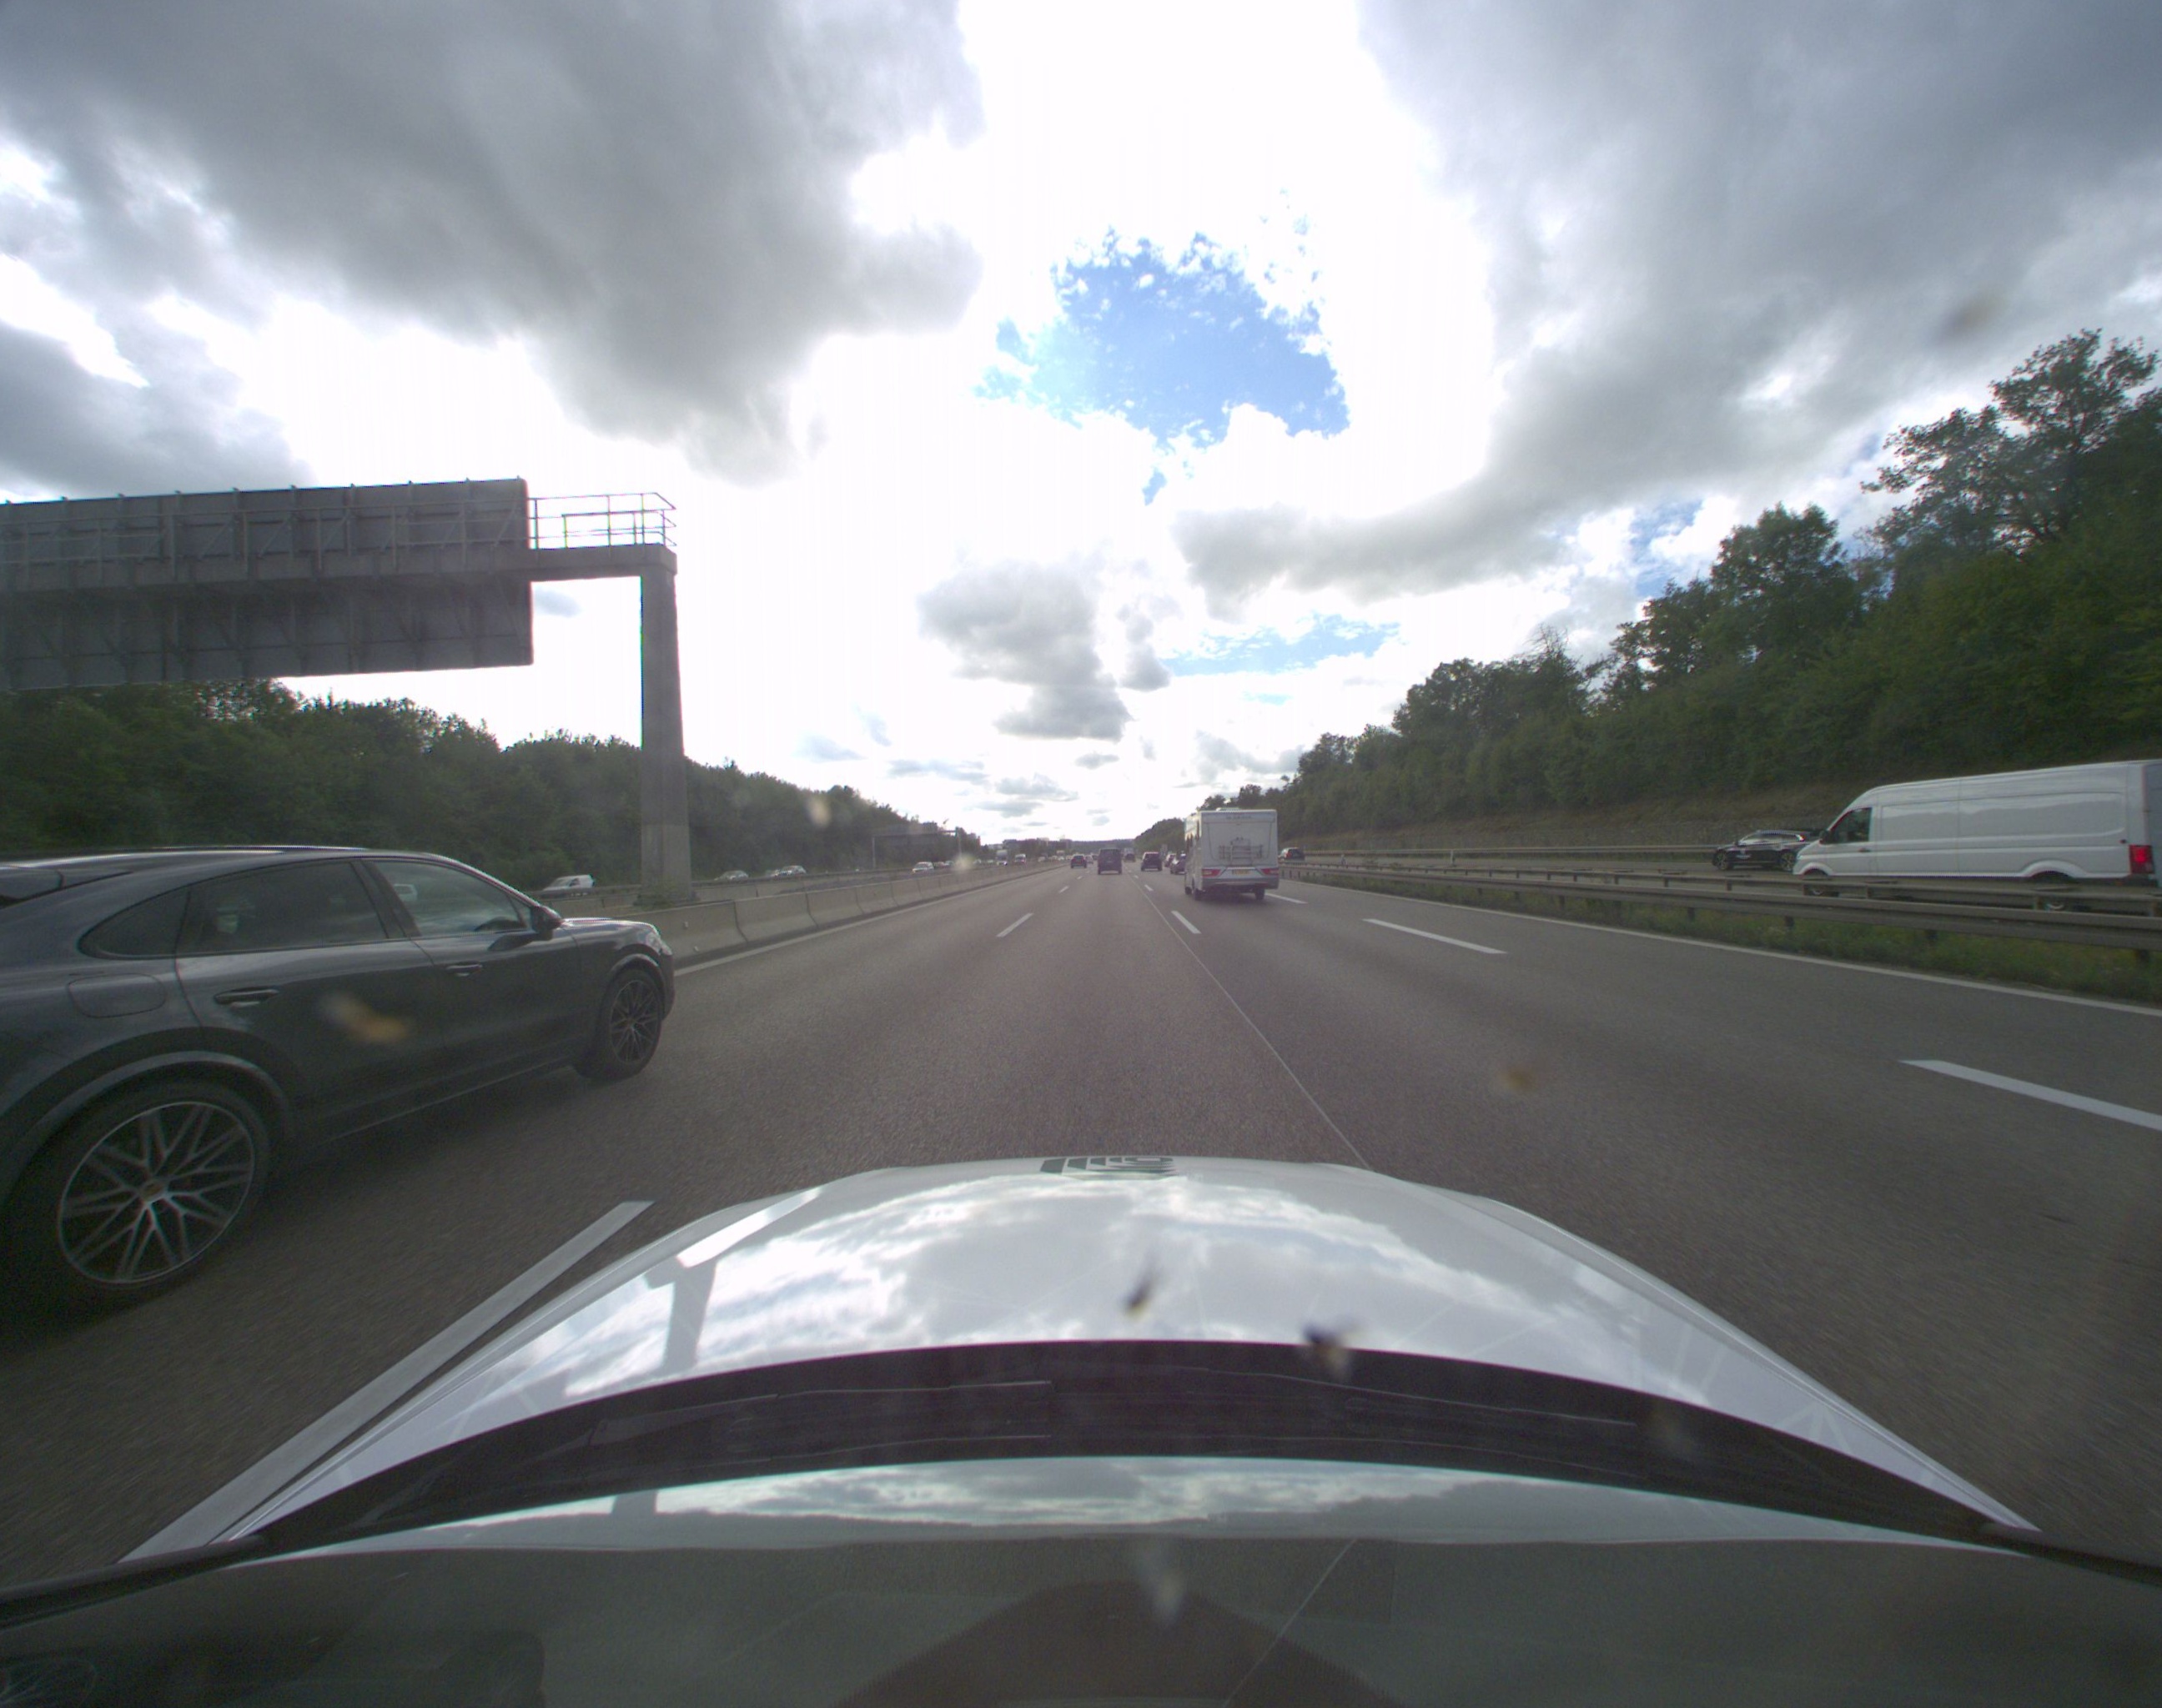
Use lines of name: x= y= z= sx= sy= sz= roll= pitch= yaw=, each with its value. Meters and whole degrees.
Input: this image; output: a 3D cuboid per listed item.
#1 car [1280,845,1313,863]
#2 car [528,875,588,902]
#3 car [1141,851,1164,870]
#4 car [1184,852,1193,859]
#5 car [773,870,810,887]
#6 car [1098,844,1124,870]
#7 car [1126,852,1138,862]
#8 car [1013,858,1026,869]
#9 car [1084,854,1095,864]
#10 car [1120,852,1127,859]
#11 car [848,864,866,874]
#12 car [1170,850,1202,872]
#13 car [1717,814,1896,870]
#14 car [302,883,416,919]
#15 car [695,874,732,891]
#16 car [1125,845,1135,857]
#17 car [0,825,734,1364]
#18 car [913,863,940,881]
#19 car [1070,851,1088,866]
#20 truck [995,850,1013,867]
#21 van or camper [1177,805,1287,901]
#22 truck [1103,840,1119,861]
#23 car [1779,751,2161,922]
car: x=19.702 y=-0.017 z=74.599 sx=1.836 sy=1.484 sz=4.528 roll=-4 pitch=0 yaw=2
car: x=-39.183 y=2.560 z=61.090 sx=1.586 sy=1.757 sz=4.283 roll=-3 pitch=0 yaw=1
car: x=6.315 y=0.590 z=72.183 sx=1.691 sy=1.564 sz=4.115 roll=-2 pitch=0 yaw=1
car: x=27.233 y=0.362 z=205.787 sx=1.745 sy=1.695 sz=4.192 roll=-2 pitch=0 yaw=2
car: x=-30.651 y=2.547 z=86.440 sx=1.985 sy=1.592 sz=4.771 roll=-2 pitch=0 yaw=3
car: x=2.314 y=0.249 z=63.048 sx=1.848 sy=1.910 sz=4.261 roll=-2 pitch=0 yaw=2
car: x=9.547 y=0.562 z=152.555 sx=1.906 sy=1.919 sz=4.032 roll=-2 pitch=0 yaw=2
car: x=-13.954 y=2.161 z=185.663 sx=2.156 sy=2.271 sz=6.463 roll=-2 pitch=0 yaw=1
car: x=1.359 y=0.780 z=132.755 sx=1.691 sy=1.611 sz=4.115 roll=-2 pitch=0 yaw=1
car: x=11.083 y=0.463 z=214.254 sx=1.745 sy=1.695 sz=4.192 roll=-2 pitch=0 yaw=2
car: x=-36.598 y=2.389 z=132.948 sx=1.586 sy=1.494 sz=4.181 roll=-3 pitch=0 yaw=1
car: x=7.561 y=0.520 z=58.899 sx=1.715 sy=1.479 sz=4.391 roll=-2 pitch=0 yaw=1
car: x=24.382 y=-0.377 z=27.654 sx=1.837 sy=1.602 sz=4.765 roll=-4 pitch=0 yaw=1
car: x=-39.595 y=2.533 z=44.846 sx=1.728 sy=1.633 sz=4.948 roll=-3 pitch=0 yaw=1
car: x=-34.542 y=2.662 z=76.696 sx=1.497 sy=1.427 sz=4.110 roll=-3 pitch=0 yaw=1
car: x=9.529 y=-0.607 z=159.333 sx=1.866 sy=2.357 sz=4.284 roll=-2 pitch=0 yaw=2
car: x=-4.182 y=0.755 z=4.572 sx=1.905 sy=1.636 sz=5.502 roll=-2 pitch=0 yaw=2
car: x=-17.075 y=2.017 z=90.262 sx=1.828 sy=1.786 sz=5.505 roll=-3 pitch=0 yaw=1
car: x=-0.186 y=0.546 z=95.338 sx=1.866 sy=1.698 sz=4.074 roll=-2 pitch=0 yaw=2
truck: x=-14.781 y=0.840 z=156.835 sx=2.345 sy=3.263 sz=7.828 roll=-2 pitch=0 yaw=2
van or camper: x=4.769 y=-0.034 z=27.192 sx=2.459 sy=2.722 sz=7.664 roll=-1 pitch=0 yaw=2
truck: x=6.484 y=-0.656 z=178.079 sx=3.250 sy=4.375 sz=11.031 roll=-1 pitch=0 yaw=2
car: x=17.207 y=-0.328 z=15.556 sx=2.062 sy=2.554 sz=6.746 roll=-3 pitch=0 yaw=2
